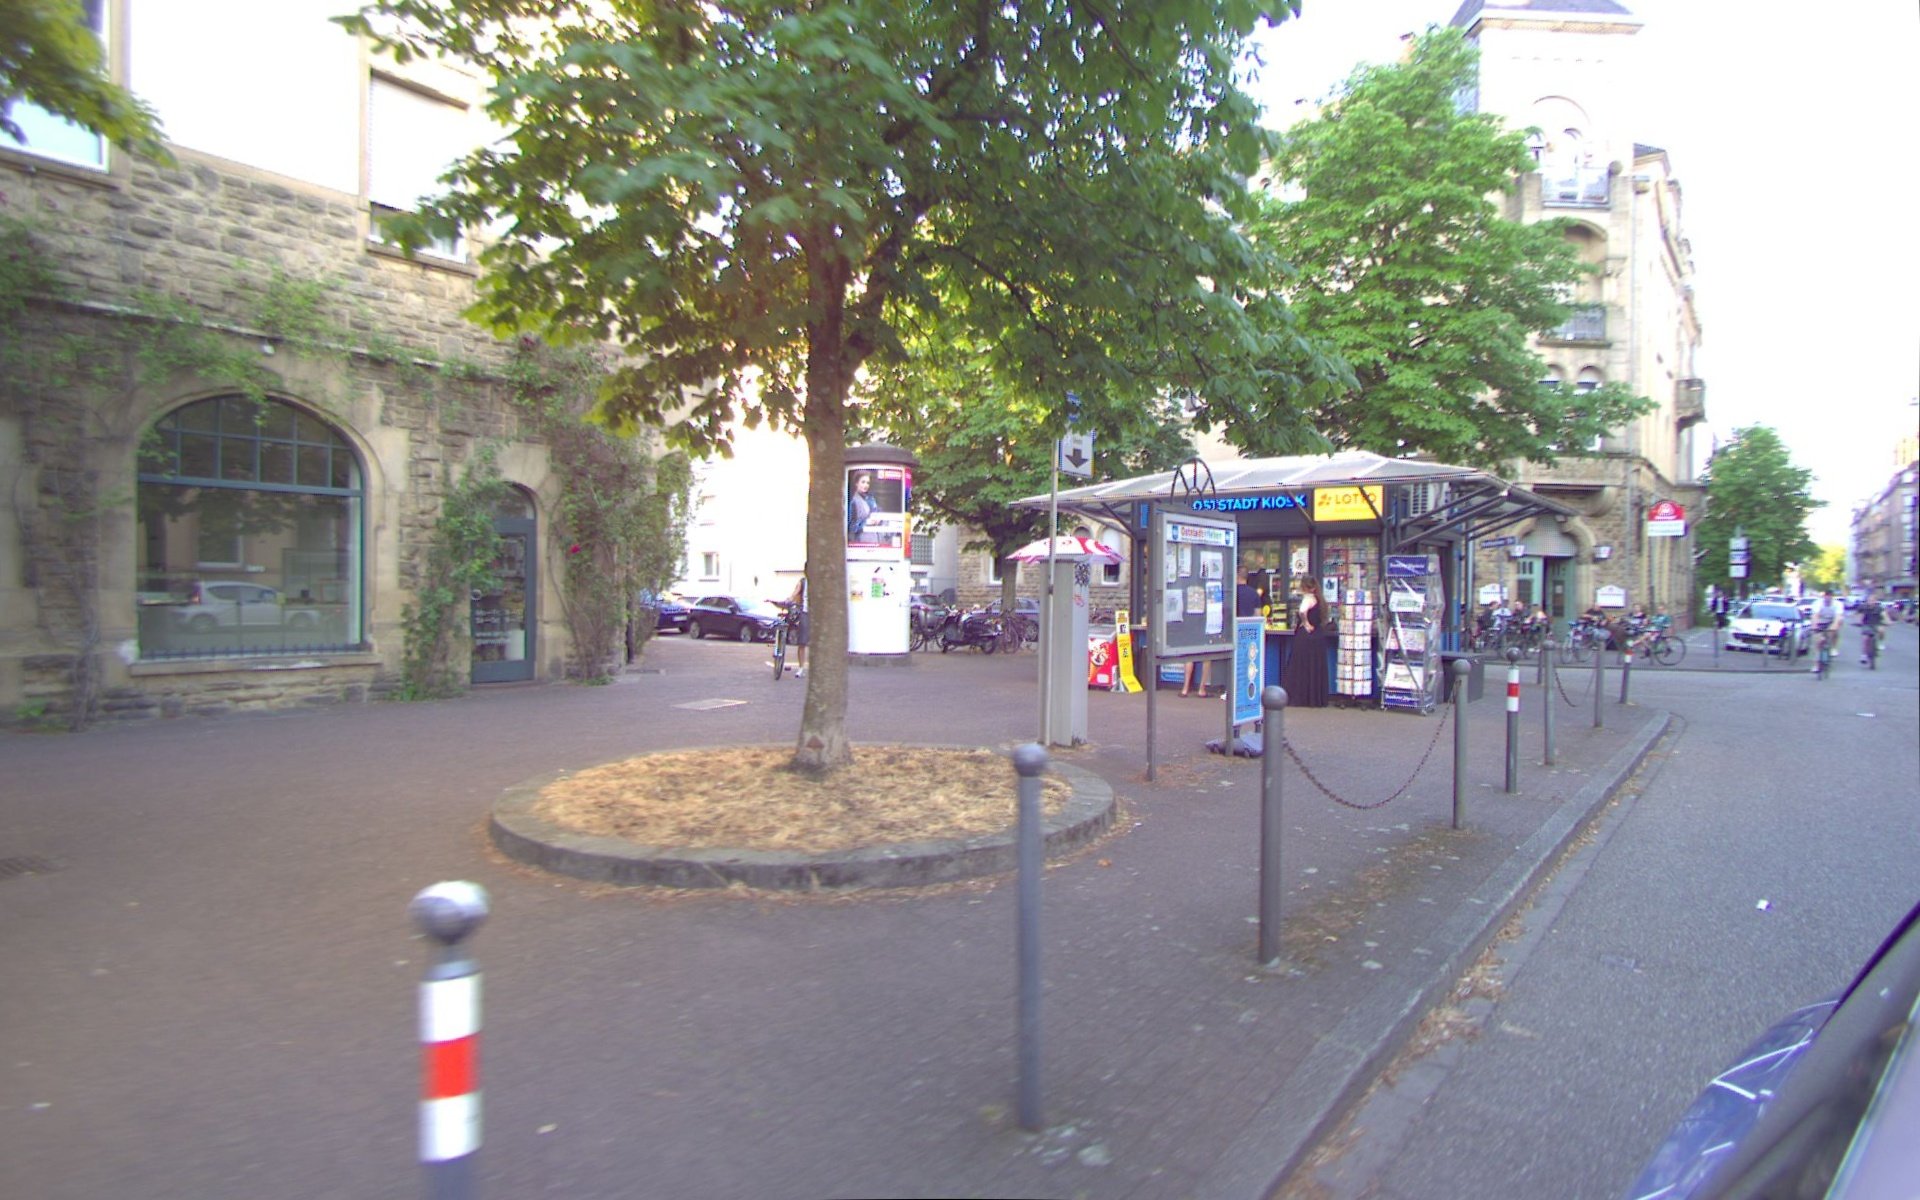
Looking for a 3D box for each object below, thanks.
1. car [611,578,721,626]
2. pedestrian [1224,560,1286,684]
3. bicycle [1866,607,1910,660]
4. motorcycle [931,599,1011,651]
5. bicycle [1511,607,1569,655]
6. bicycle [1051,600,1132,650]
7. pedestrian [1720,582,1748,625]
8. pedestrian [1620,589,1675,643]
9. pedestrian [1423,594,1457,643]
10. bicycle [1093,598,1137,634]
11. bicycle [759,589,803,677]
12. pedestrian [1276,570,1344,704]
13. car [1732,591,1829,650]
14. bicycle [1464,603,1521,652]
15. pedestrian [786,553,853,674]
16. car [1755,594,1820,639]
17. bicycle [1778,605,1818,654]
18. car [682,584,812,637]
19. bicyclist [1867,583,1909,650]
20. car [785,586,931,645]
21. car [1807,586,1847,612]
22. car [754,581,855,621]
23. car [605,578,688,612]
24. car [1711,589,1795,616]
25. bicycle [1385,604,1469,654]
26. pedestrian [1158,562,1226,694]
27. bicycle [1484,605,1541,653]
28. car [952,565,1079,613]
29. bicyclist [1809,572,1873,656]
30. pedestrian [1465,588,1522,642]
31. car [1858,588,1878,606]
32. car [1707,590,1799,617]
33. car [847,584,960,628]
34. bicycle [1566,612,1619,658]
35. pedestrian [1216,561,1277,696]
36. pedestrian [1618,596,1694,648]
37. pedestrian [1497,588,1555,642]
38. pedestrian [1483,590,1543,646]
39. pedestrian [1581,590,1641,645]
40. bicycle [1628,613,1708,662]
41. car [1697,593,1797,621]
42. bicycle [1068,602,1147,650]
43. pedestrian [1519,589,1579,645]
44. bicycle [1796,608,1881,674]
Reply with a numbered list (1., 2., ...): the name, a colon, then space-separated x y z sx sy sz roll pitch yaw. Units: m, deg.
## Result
1. car: -9.839 0.073 33.787 3.892 1.502 1.798 -1 0 43
2. pedestrian: 4.071 0.285 13.950 0.673 1.658 0.584 1 1 32
3. bicycle: 21.877 0.760 23.880 0.683 1.166 2.083 1 0 41
4. motorcycle: 0.235 0.524 22.090 1.825 1.067 0.570 1 1 42
5. bicycle: 13.604 0.708 23.711 1.800 1.080 0.513 0 0 -37
6. bicycle: 2.862 0.532 22.075 1.732 1.008 0.570 1 1 42
7. pedestrian: 33.415 0.141 43.705 0.849 1.788 0.820 2 1 44
8. pedestrian: 18.727 0.440 27.566 1.082 1.414 0.842 2 1 -33
9. pedestrian: 13.166 0.499 27.768 0.702 1.299 0.866 1 0 36
10. bicycle: 4.837 0.480 31.515 0.588 1.091 1.810 1 1 36
11. bicycle: -2.742 0.466 15.420 0.622 1.202 1.918 0 2 -11
12. pedestrian: 4.197 0.425 12.167 0.667 1.558 0.589 1 0 10
13. car: 24.004 0.552 29.566 1.765 1.502 4.392 5 3 44
14. bicycle: 12.856 0.653 24.421 1.800 1.126 0.503 0 0 -37
15. pedestrian: -2.183 0.190 15.653 0.960 1.811 1.008 0 1 -11
16. car: 30.950 0.562 37.901 1.761 1.503 4.492 3 2 39
17. bicycle: 21.521 0.738 25.981 0.684 1.165 2.084 5 3 41
18. car: -6.477 0.300 30.544 3.985 1.502 1.800 -1 0 40
19. bicyclist: 21.966 0.372 23.966 0.683 1.531 0.959 1 0 40
20. car: -2.819 0.400 27.649 3.889 1.502 1.800 -1 0 40
21. car: 60.831 -0.063 71.059 1.949 1.761 4.223 -2 -1 40
22. car: -6.136 0.050 39.748 3.886 1.502 1.801 -1 0 38
23. car: -14.612 -0.219 47.137 3.884 1.502 1.802 -1 0 37
24. car: 52.121 0.132 66.573 4.285 1.697 1.797 1 1 40
25. bicycle: 11.386 0.688 24.695 1.817 1.166 0.553 1 0 27
26. pedestrian: 3.013 0.342 13.144 0.675 1.658 0.582 1 1 39
27. bicycle: 13.071 0.661 23.919 1.800 1.084 0.476 0 0 -37
28. car: 1.803 -0.334 33.467 3.887 1.502 1.801 -1 0 39
29. bicyclist: 16.529 0.245 18.994 0.954 1.531 0.686 0 0 -34
30. pedestrian: 14.406 0.399 27.343 1.081 1.414 0.843 -1 2 -9
31. car: 126.119 -0.416 140.530 1.750 2.307 3.997 -6 -4 40
32. car: 47.414 0.202 60.566 4.285 1.548 1.797 1 1 40
33. car: -2.073 0.229 36.601 3.885 1.502 1.802 -1 0 38
34. bicycle: 14.334 0.783 22.934 1.674 0.992 0.447 0 0 -37
35. pedestrian: 3.619 0.345 12.807 0.667 1.658 0.589 1 0 10
36. pedestrian: 18.402 0.563 26.780 1.391 1.301 0.842 1 2 -2
37. pedestrian: 15.399 0.391 27.560 1.081 1.414 0.843 -1 2 -9
38. pedestrian: 14.529 0.450 26.610 1.081 1.414 0.843 -1 2 -9
39. pedestrian: 17.593 0.468 27.369 0.879 1.414 1.012 2 0 -2
40. bicycle: 15.739 0.821 22.507 1.447 1.052 0.432 0 1 0
41. car: 43.443 0.366 55.922 4.285 1.470 1.797 1 1 40
42. bicycle: 3.300 0.562 22.689 1.732 1.008 0.570 1 1 42
43. pedestrian: 15.557 0.436 26.741 1.081 1.414 0.843 -1 2 -9
44. bicycle: 16.480 0.746 18.965 2.074 1.166 0.686 0 0 -34
